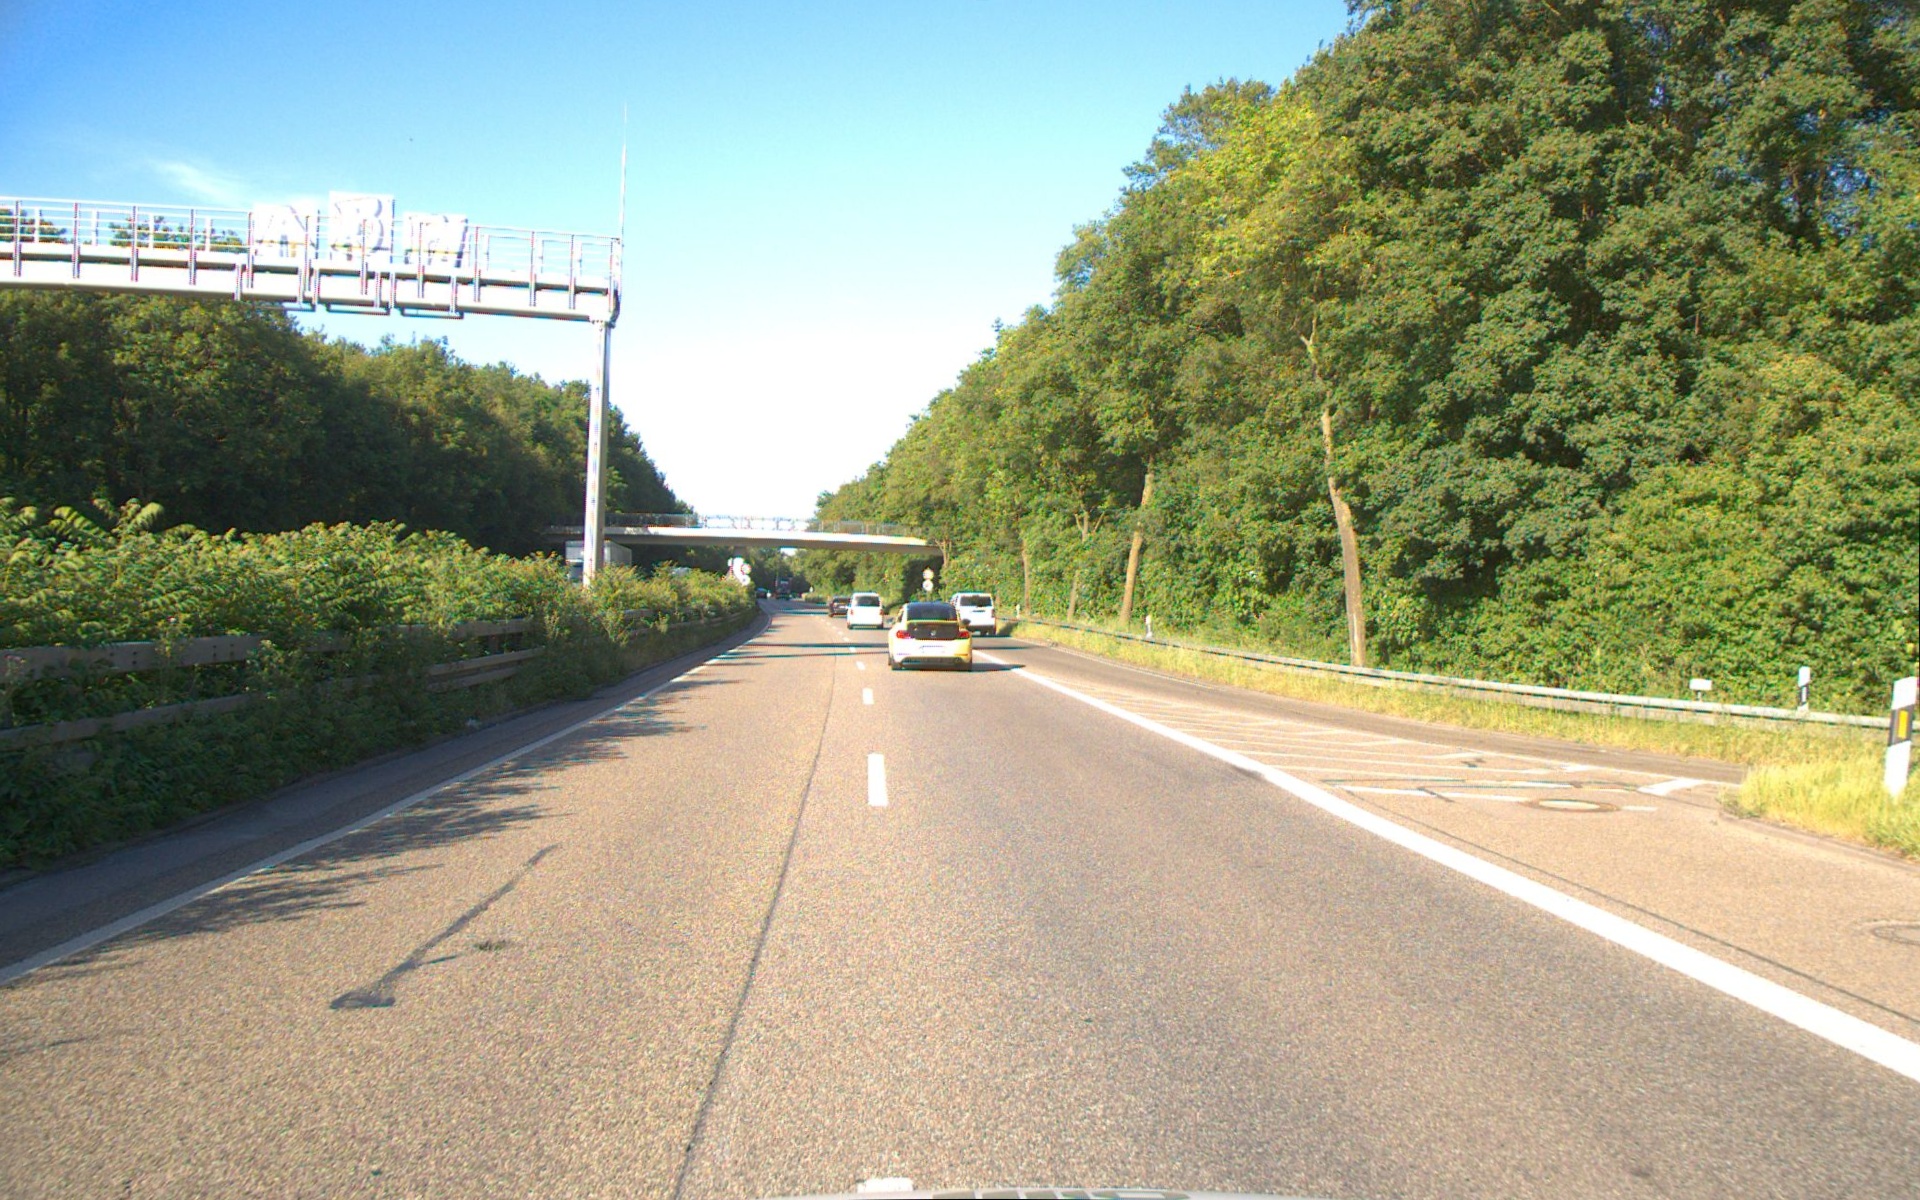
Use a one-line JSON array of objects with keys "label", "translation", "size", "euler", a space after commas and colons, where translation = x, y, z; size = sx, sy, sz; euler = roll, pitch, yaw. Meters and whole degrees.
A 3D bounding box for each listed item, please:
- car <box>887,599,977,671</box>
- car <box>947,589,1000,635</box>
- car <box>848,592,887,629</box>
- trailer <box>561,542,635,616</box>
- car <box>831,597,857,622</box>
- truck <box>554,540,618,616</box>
[{"label": "car", "translation": [-0.676, 0.747, 37.132], "size": [1.859, 1.496, 3.997], "euler": [1, 0, -3]}, {"label": "car", "translation": [0.539, 0.492, 68.444], "size": [1.860, 1.856, 3.996], "euler": [1, 0, -4]}, {"label": "car", "translation": [-4.676, 0.513, 83.010], "size": [1.860, 1.798, 3.996], "euler": [1, 0, -5]}, {"label": "trailer", "translation": [-21.901, -1.182, 100.803], "size": [2.685, 4.098, 14.057], "euler": [2, 0, -6]}, {"label": "car", "translation": [-8.554, 0.660, 121.609], "size": [1.860, 1.798, 3.996], "euler": [1, 0, -5]}, {"label": "truck", "translation": [-21.270, -1.194, 94.440], "size": [2.685, 4.098, 6.172], "euler": [2, 0, -6]}]
